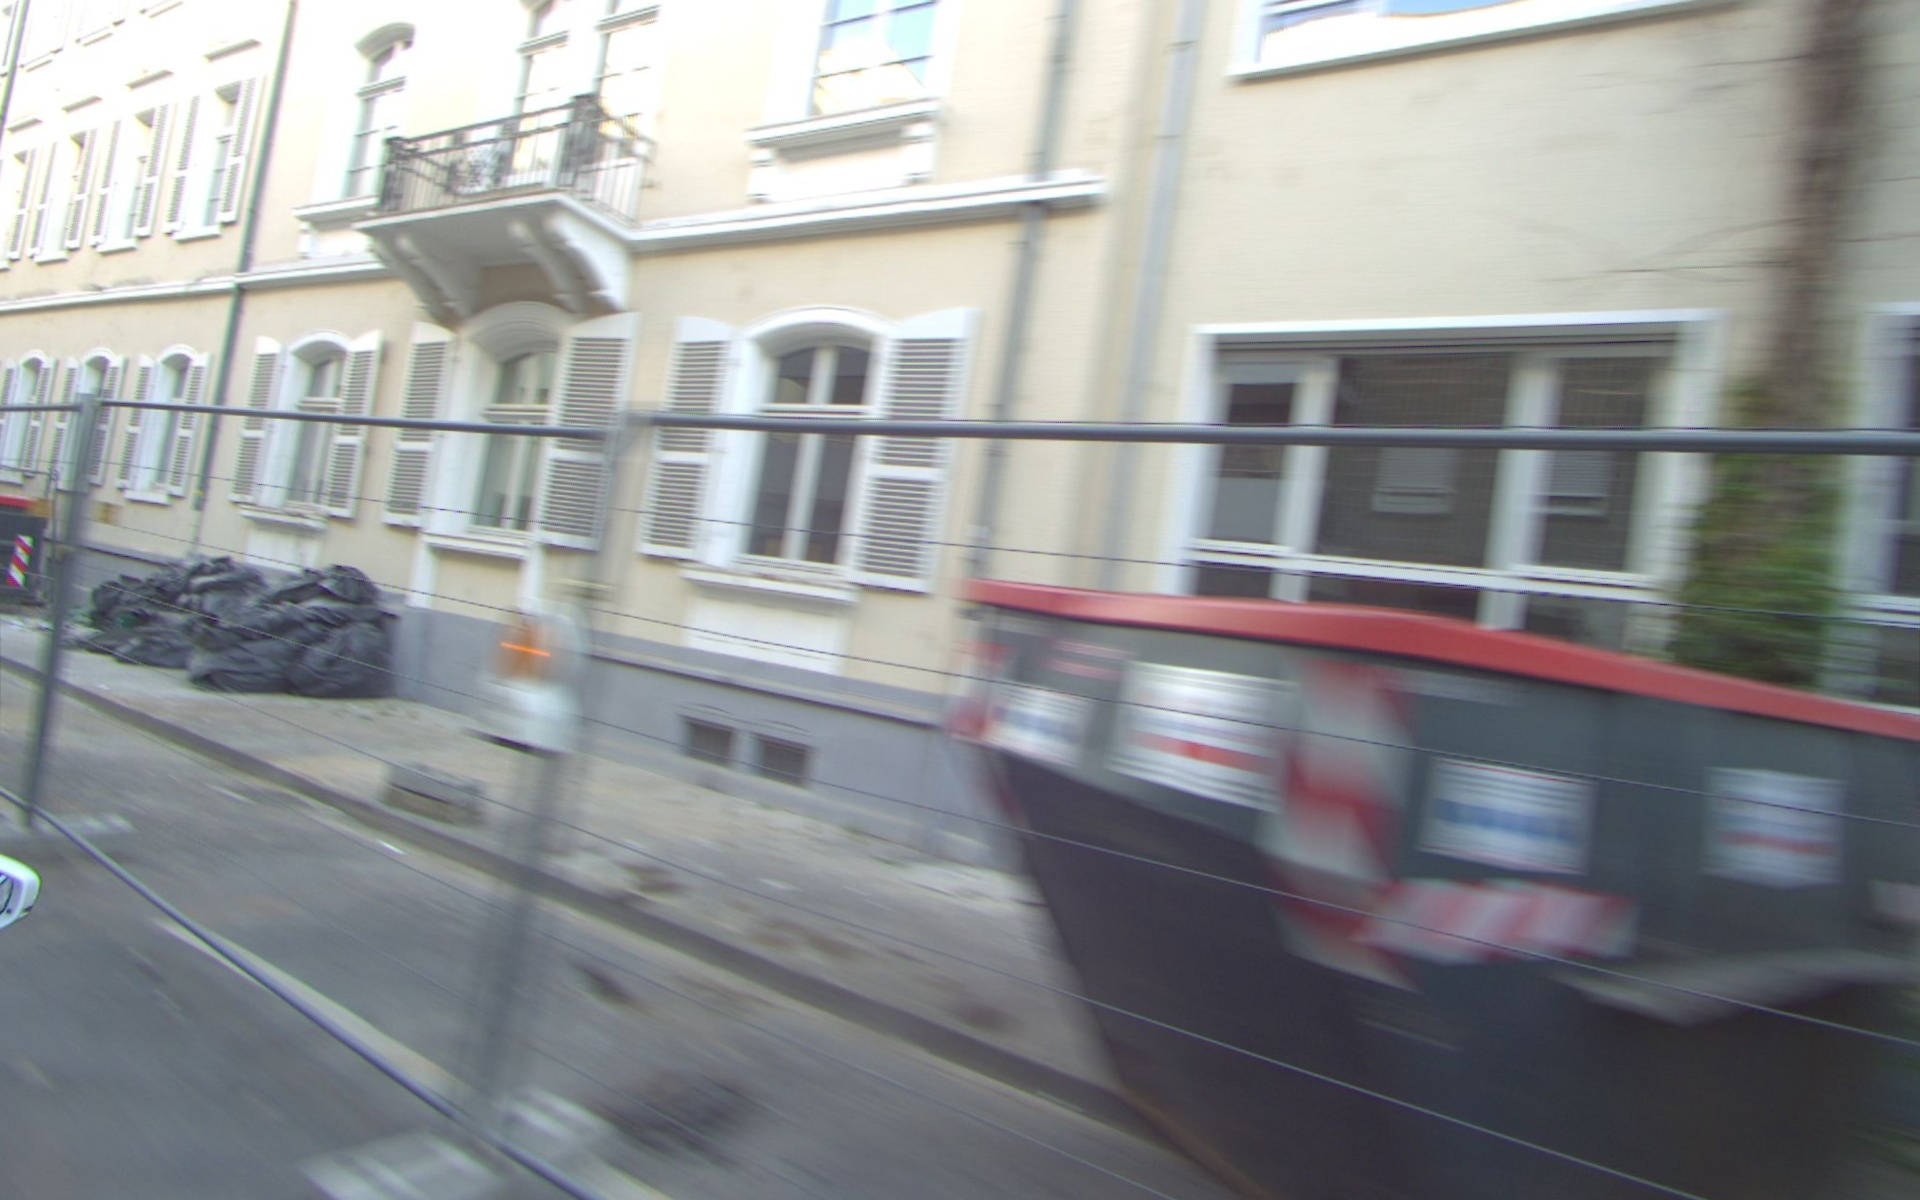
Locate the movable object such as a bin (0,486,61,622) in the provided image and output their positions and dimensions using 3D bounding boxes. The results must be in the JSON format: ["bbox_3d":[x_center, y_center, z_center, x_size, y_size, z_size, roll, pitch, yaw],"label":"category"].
[{"bbox_3d":[-15.871,-1.152,13.896,7.169,1.683,2.899,8,-2,30],"label":"movable object such as a bin"}]
